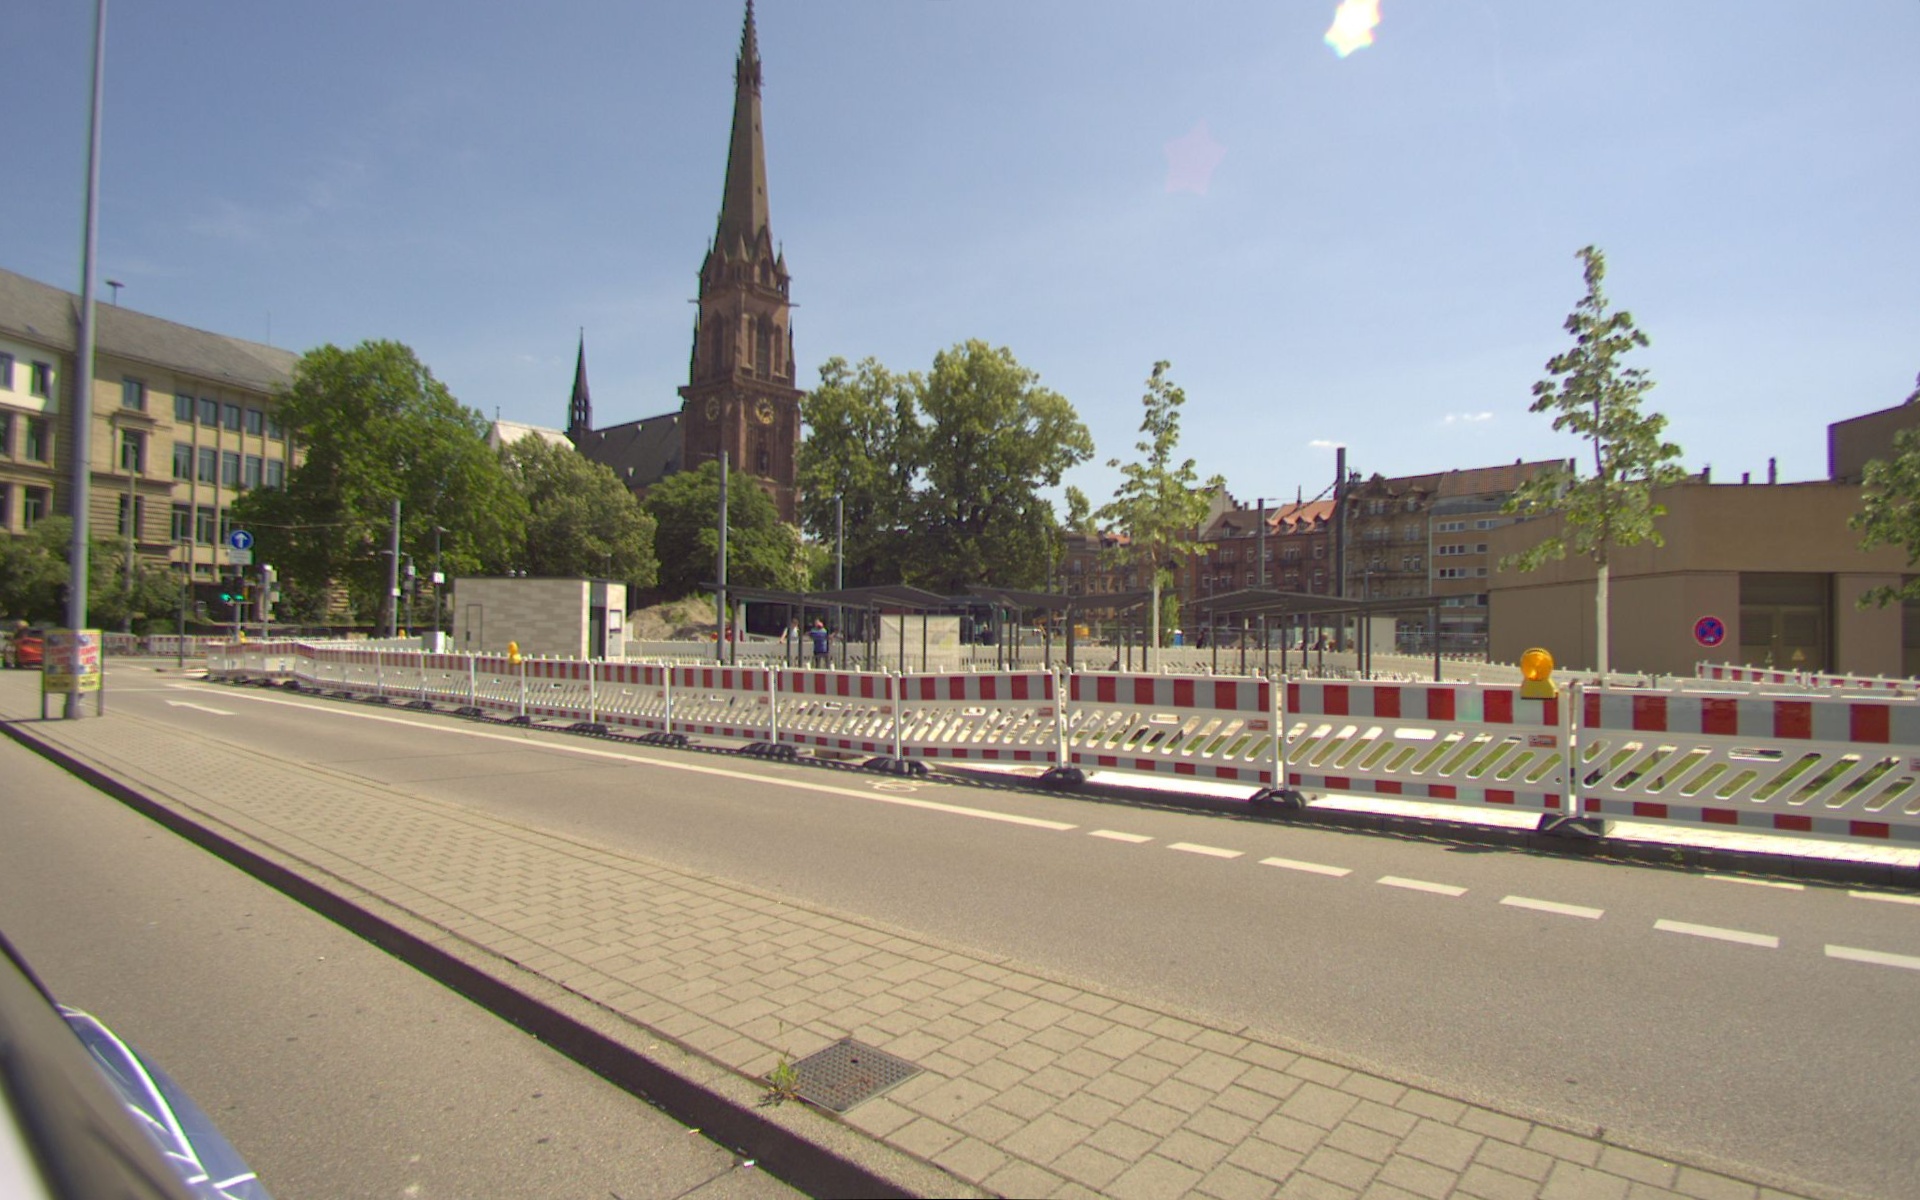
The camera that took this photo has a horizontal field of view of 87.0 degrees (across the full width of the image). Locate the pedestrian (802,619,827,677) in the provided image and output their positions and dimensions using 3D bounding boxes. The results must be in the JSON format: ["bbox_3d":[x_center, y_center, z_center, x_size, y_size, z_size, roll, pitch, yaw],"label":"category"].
[{"bbox_3d":[-4.596,1.514,32.001,0.630,1.802,0.644,-1,0,5],"label":"pedestrian"}]

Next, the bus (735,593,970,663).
[{"bbox_3d":[-4.905,1.291,46.912,10.477,3.076,2.849,-1,0,8],"label":"bus"}]

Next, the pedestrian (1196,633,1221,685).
[{"bbox_3d":[9.972,2.356,40.624,0.869,2.029,0.694,-1,0,10],"label":"pedestrian"}]

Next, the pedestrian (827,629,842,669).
[{"bbox_3d":[-5.305,2.072,42.786,0.539,1.667,0.626,-1,0,2],"label":"pedestrian"}]

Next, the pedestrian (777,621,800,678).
[{"bbox_3d":[-5.408,1.544,31.961,0.649,1.769,0.541,-1,0,-4],"label":"pedestrian"}]

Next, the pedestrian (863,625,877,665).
[{"bbox_3d":[-3.791,1.890,42.543,0.513,1.632,0.537,-1,0,2],"label":"pedestrian"}]

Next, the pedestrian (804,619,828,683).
[{"bbox_3d":[-4.403,1.550,30.913,0.569,1.920,0.692,-1,0,5],"label":"pedestrian"}]

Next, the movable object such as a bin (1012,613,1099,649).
[{"bbox_3d":[9.335,2.987,99.153,7.930,3.414,2.884,-1,0,25],"label":"movable object such as a bin"}]

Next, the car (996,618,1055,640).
[{"bbox_3d":[5.054,2.223,78.358,4.223,1.614,1.767,-1,0,27],"label":"car"}]

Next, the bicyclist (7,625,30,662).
[{"bbox_3d":[-43.197,1.996,46.429,0.798,1.678,0.580,-1,-4,38],"label":"bicyclist"}]

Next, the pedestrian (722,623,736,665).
[{"bbox_3d":[-9.544,1.815,41.784,0.556,1.714,0.582,0,0,-13],"label":"pedestrian"}]

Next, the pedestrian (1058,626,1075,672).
[{"bbox_3d":[4.442,2.025,42.183,0.598,1.871,0.699,-1,0,2],"label":"pedestrian"}]

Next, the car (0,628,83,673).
[{"bbox_3d":[-31.376,1.699,34.474,4.012,1.388,1.670,-1,-4,41],"label":"car"}]
